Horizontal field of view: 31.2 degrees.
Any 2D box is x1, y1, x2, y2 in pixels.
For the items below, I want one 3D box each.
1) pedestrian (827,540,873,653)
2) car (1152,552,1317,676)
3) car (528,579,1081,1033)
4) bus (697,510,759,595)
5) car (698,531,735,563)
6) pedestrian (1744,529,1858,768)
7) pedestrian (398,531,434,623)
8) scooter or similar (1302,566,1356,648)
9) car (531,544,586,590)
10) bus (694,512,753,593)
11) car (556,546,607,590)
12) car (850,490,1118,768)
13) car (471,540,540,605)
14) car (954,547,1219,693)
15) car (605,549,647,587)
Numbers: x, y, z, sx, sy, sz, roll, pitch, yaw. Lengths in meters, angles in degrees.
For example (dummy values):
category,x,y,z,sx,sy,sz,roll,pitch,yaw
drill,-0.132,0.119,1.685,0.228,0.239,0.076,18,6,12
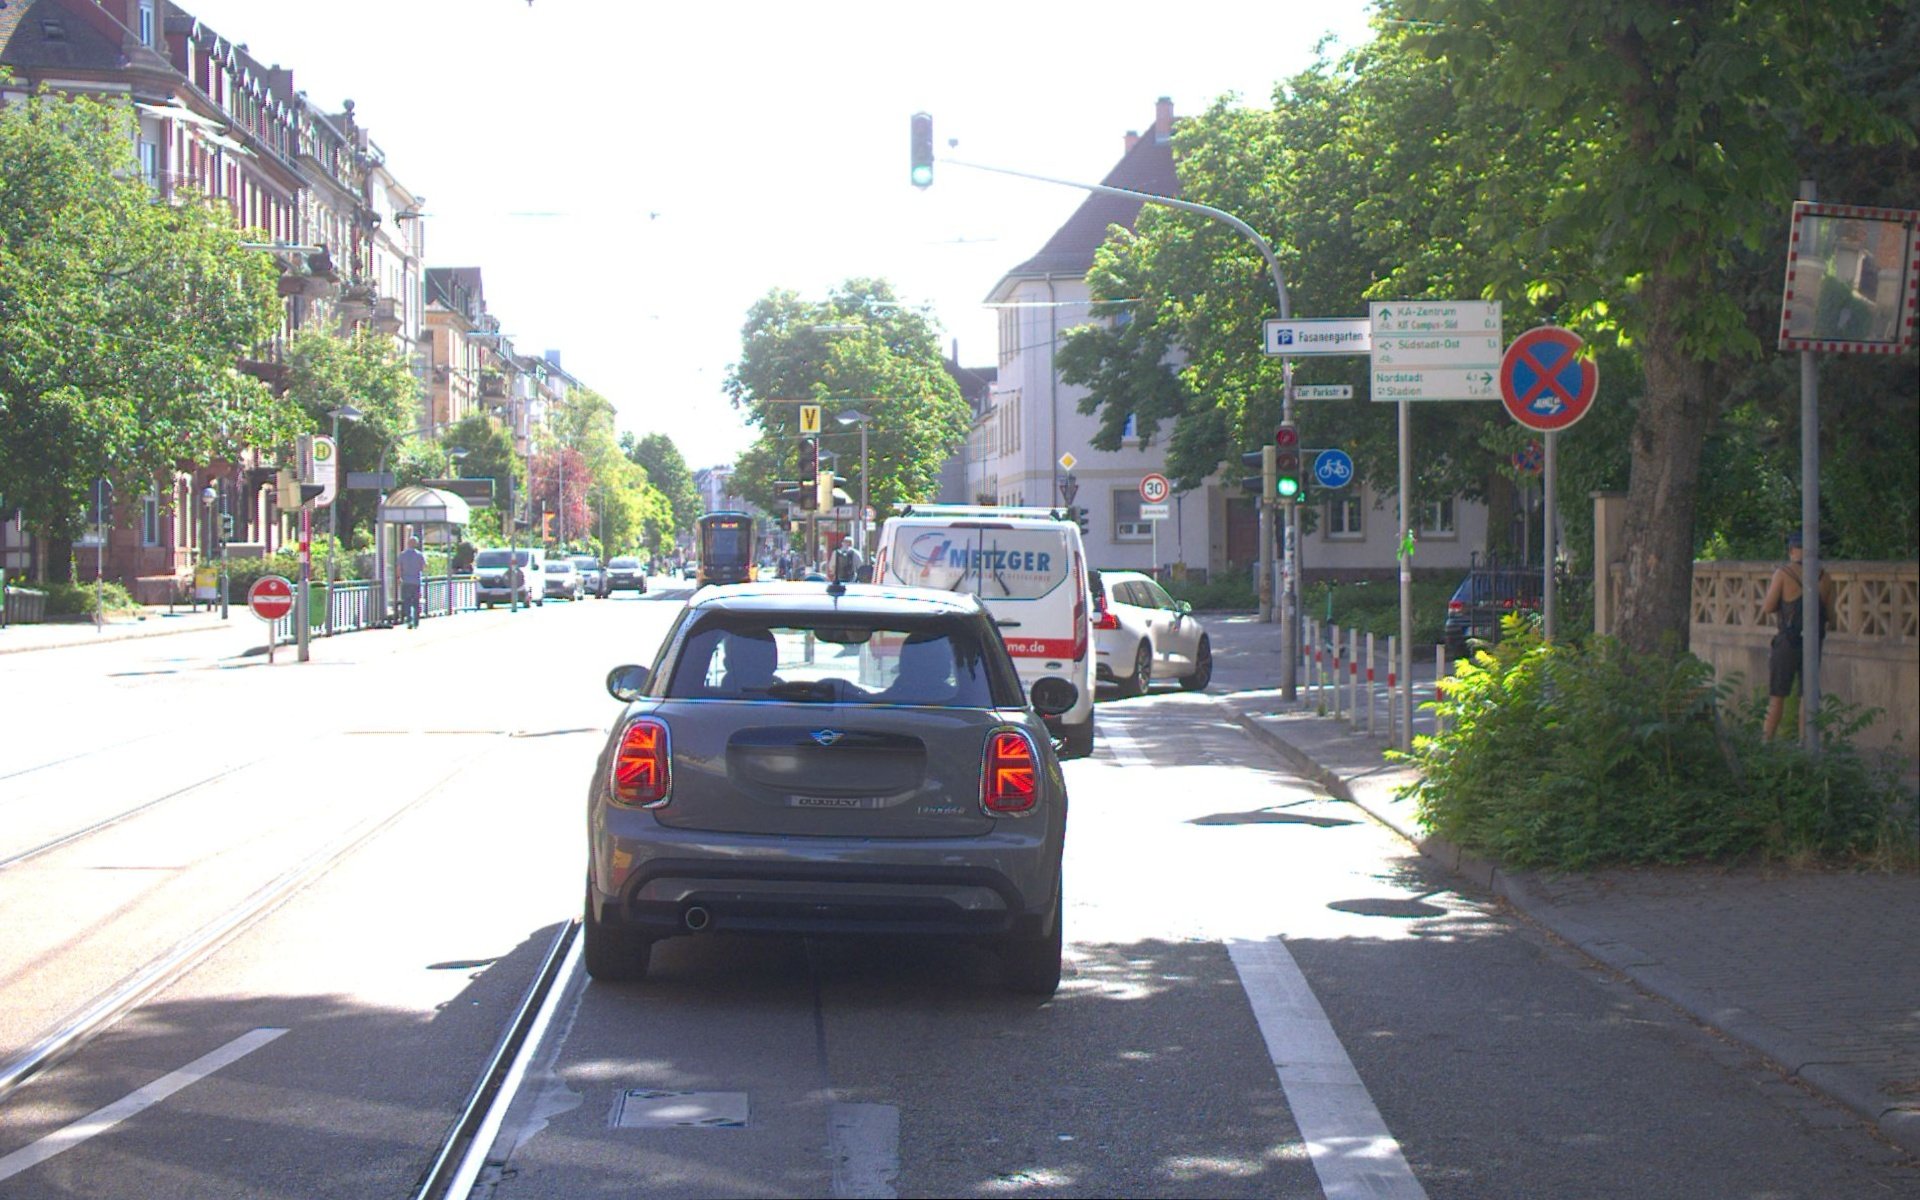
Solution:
category,x,y,z,sx,sy,sz,roll,pitch,yaw
pedestrian,-1.988,-0.062,62.173,0.795,2.007,0.740,1,0,-2
car,3.949,0.193,50.031,1.993,1.700,4.000,1,0,-1
car,-0.559,0.680,13.422,1.815,1.483,4.000,1,0,-1
bus,-9.919,-1.999,146.589,2.385,3.484,7.385,1,0,-5
car,-12.739,-2.757,179.706,1.863,1.558,4.001,1,0,-5
pedestrian,5.989,0.342,24.497,0.592,1.665,0.647,-2,0,-1
pedestrian,-10.624,-0.450,67.150,0.577,1.789,0.608,-1,1,-19
scooter or similar,6.008,0.107,56.006,0.676,1.306,1.329,1,0,-2
car,-14.514,-1.186,124.430,1.775,1.612,4.001,1,0,-5
bus,-10.634,-2.090,153.959,2.385,3.484,7.385,1,0,-5
car,-14.482,-1.220,131.641,1.775,1.612,4.001,1,0,-5
car,0.138,0.225,30.077,2.118,2.201,4.945,1,0,-1
car,-14.493,-0.861,109.486,1.993,2.007,5.030,1,0,-9
car,1.561,0.227,40.859,1.995,1.612,3.996,1,0,20
car,-14.838,-1.415,152.839,1.775,1.612,4.001,1,0,-5
